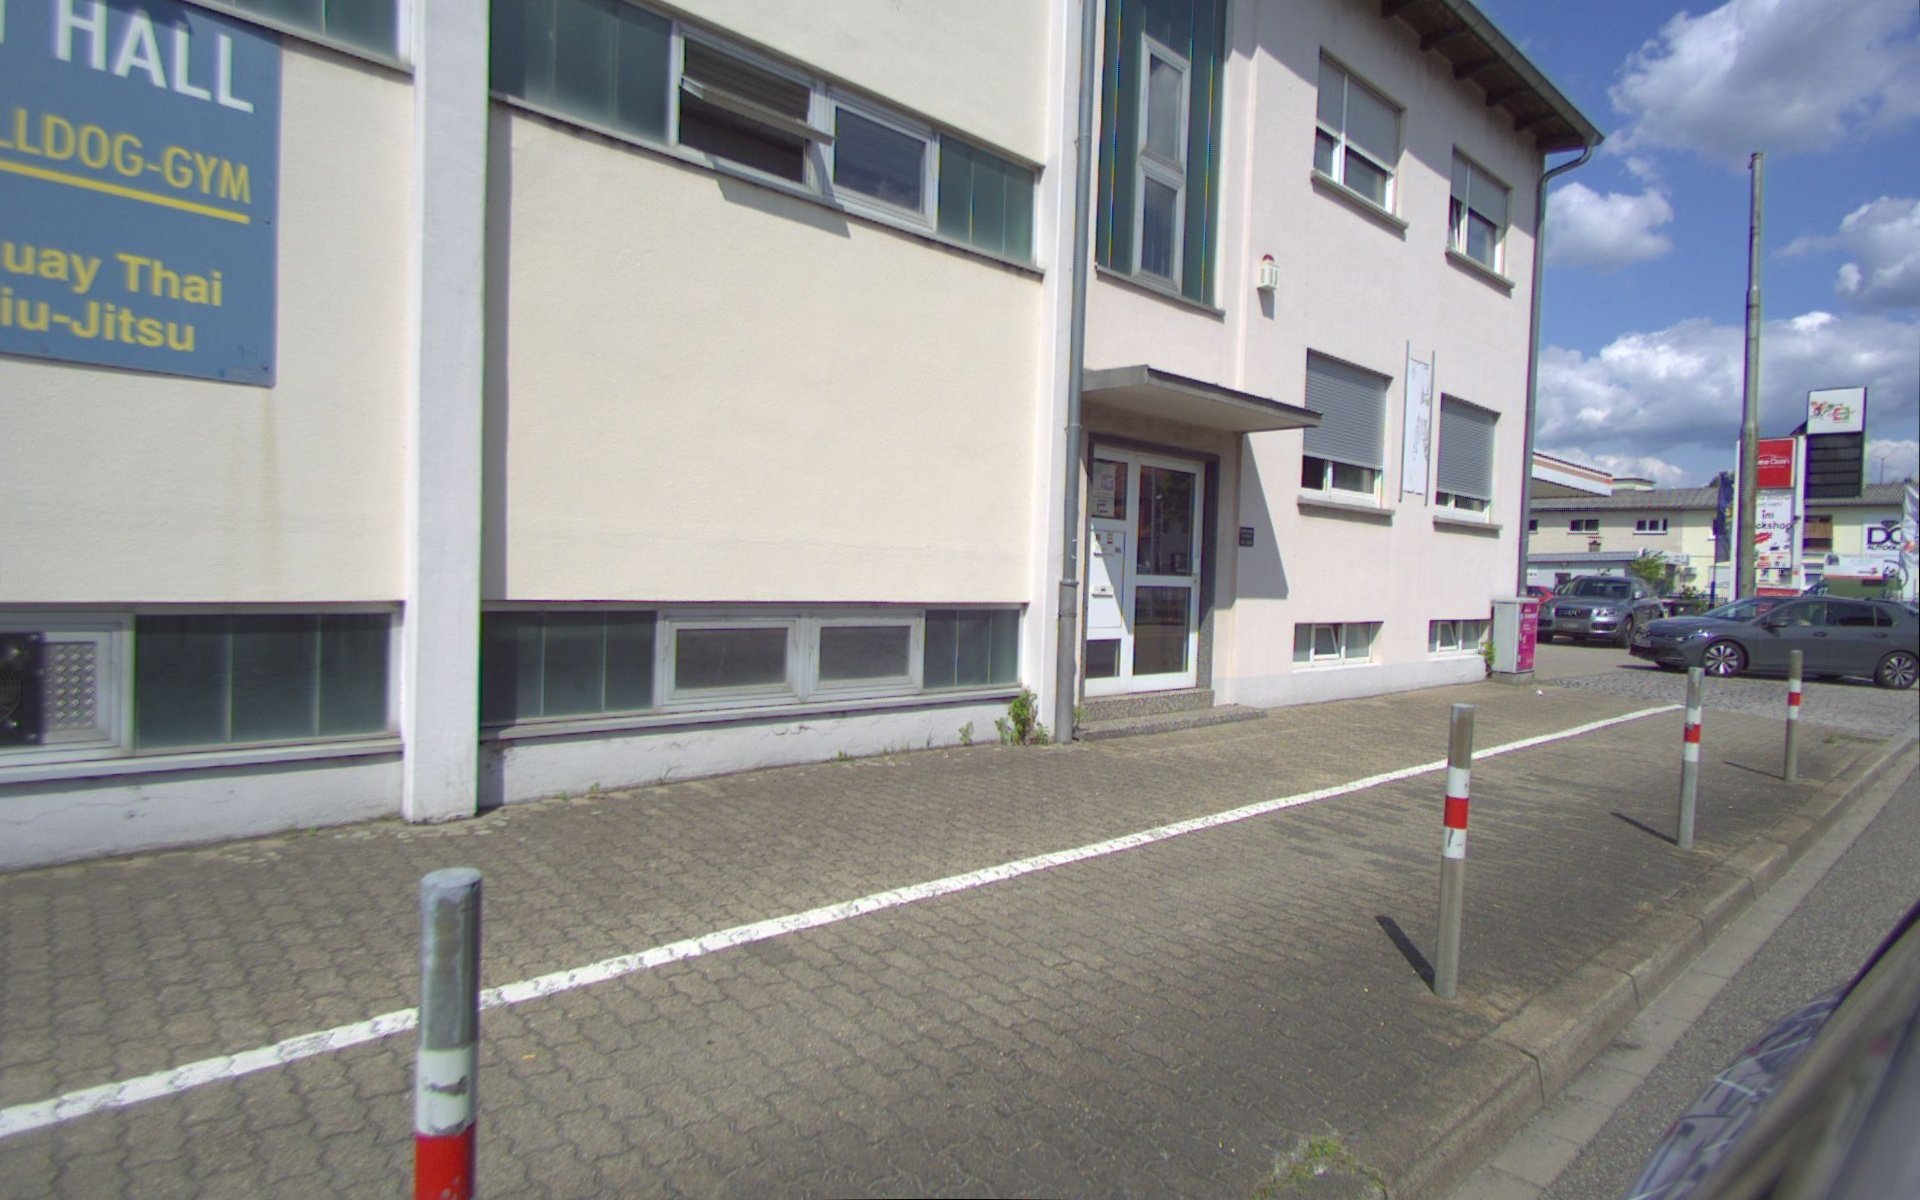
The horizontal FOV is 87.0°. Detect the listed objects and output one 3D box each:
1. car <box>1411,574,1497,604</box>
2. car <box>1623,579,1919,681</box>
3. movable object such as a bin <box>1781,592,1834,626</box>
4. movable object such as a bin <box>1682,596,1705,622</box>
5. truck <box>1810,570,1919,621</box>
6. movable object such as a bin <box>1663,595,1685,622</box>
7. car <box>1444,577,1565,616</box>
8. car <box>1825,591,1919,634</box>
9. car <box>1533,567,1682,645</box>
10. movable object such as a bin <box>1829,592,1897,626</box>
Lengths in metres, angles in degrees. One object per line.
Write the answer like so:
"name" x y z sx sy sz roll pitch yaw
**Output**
"car" 23.329 -0.562 47.866 1.461 1.240 3.310 -1 4 -39
"car" 14.055 0.482 17.127 4.309 1.435 1.740 3 1 9
"movable object such as a bin" 36.587 0.360 43.696 1.735 1.427 1.534 -1 1 -42
"movable object such as a bin" 28.810 0.345 39.755 0.695 1.023 0.581 0 1 -43
"truck" 49.363 -0.276 55.301 2.071 2.694 4.180 0 1 -40
"movable object such as a bin" 28.364 0.336 40.183 0.695 1.023 0.581 0 1 -43
"car" 23.183 -0.186 43.208 1.740 1.442 4.145 -1 4 -39
"car" 34.439 0.457 36.949 1.616 1.425 4.067 0 3 -35
"car" 15.671 0.103 24.402 4.539 1.645 1.948 0 3 -44
"movable object such as a bin" 38.166 0.341 42.773 1.679 1.364 1.966 -1 1 -42
